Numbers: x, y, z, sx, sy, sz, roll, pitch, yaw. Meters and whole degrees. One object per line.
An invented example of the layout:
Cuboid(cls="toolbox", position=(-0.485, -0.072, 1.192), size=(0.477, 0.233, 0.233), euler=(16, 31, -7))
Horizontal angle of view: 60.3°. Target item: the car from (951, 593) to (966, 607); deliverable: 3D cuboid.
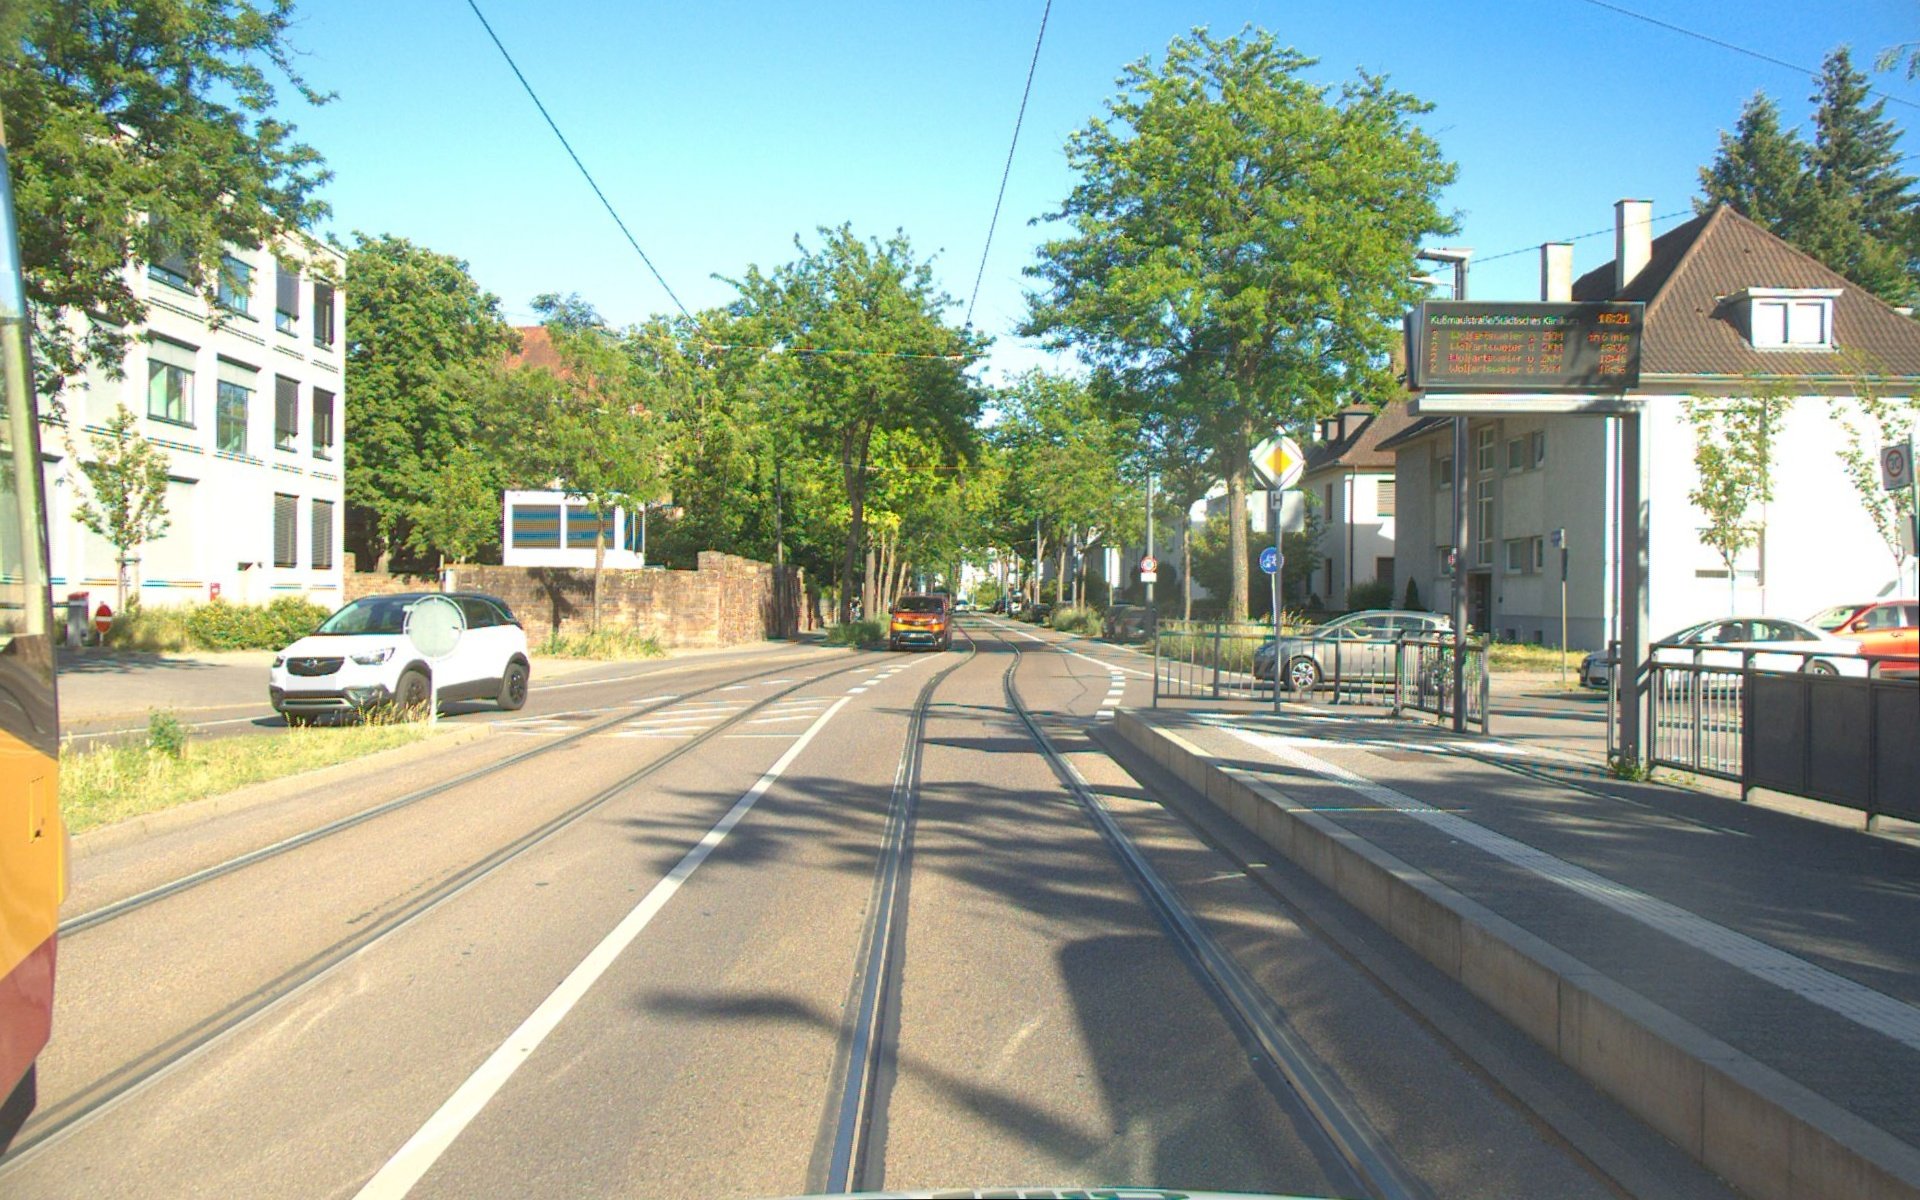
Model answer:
Cuboid(cls="car", position=(-0.194, 0.039, 203.285), size=(1.827, 1.704, 4.173), euler=(0, 0, 1))

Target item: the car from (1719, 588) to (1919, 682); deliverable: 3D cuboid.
Cuboid(cls="car", position=(16.678, 0.647, 30.905), size=(4.079, 1.671, 1.981), euler=(1, 0, -3))

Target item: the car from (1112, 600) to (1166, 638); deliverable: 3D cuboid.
Cuboid(cls="car", position=(7.463, 0.783, 69.331), size=(1.713, 1.521, 4.442), euler=(-1, 0, -1))

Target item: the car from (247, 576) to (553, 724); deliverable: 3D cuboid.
Cuboid(cls="car", position=(-6.988, 0.573, 21.155), size=(1.727, 1.693, 4.213), euler=(0, 0, 14))

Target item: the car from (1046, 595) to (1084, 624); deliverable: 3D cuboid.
Cuboid(cls="car", position=(6.824, 0.602, 107.716), size=(1.953, 1.734, 4.476), euler=(-3, 0, -2))

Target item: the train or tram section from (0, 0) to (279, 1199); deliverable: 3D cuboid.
Cuboid(cls="train or tram section", position=(-3.100, -0.406, 0.886), size=(2.747, 3.520, 6.667), euler=(1, 0, -1))

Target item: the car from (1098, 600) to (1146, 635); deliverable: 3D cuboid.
Cuboid(cls="car", position=(7.333, 0.757, 75.300), size=(1.713, 1.521, 3.996), euler=(-1, 0, -1))

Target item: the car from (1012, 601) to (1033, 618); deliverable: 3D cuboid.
Cuboid(cls="car", position=(5.431, 0.814, 143.906), size=(1.594, 1.422, 3.644), euler=(-3, 0, -1))

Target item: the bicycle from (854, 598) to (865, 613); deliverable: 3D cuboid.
Cuboid(cls="bicycle", position=(-6.547, 0.376, 108.107), size=(0.577, 0.977, 2.132), euler=(0, 0, 0))

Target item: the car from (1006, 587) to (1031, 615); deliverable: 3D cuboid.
Cuboid(cls="car", position=(5.869, 0.082, 165.416), size=(2.200, 2.700, 5.584), euler=(0, 0, -1))

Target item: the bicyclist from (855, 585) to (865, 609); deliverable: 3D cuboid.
Cuboid(cls="bicyclist", position=(-6.543, -0.216, 108.160), size=(0.581, 1.554, 1.061), euler=(0, 0, 0))

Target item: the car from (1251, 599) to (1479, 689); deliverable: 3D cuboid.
Cuboid(cls="car", position=(7.349, 0.771, 30.347), size=(3.902, 1.534, 1.984), euler=(1, 0, 9))

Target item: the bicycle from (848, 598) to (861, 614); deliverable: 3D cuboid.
Cuboid(cls="bicycle", position=(-6.647, 0.377, 104.155), size=(0.696, 0.977, 2.094), euler=(0, 0, 0))

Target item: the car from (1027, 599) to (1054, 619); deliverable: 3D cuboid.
Cuboid(cls="car", position=(6.521, 0.733, 134.072), size=(1.748, 1.473, 4.299), euler=(-3, 0, -2))

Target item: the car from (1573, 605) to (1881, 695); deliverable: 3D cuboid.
Cuboid(cls="car", position=(13.198, 0.862, 28.757), size=(4.505, 1.492, 1.983), euler=(0, -2, 11))

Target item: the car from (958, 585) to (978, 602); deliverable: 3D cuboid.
Cuboid(cls="car", position=(1.205, -0.896, 243.367), size=(1.959, 2.501, 4.493), euler=(0, 0, -14))

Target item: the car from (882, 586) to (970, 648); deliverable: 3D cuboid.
Cuboid(cls="car", position=(-1.098, 0.536, 56.009), size=(1.951, 2.000, 4.938), euler=(0, 0, 11))

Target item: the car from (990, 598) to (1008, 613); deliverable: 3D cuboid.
Cuboid(cls="car", position=(4.616, 0.682, 197.504), size=(1.962, 1.704, 4.391), euler=(-2, 0, -1))

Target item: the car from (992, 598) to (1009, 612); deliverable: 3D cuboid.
Cuboid(cls="car", position=(5.294, 0.616, 215.048), size=(1.961, 1.704, 4.394), euler=(-2, 0, 3))
